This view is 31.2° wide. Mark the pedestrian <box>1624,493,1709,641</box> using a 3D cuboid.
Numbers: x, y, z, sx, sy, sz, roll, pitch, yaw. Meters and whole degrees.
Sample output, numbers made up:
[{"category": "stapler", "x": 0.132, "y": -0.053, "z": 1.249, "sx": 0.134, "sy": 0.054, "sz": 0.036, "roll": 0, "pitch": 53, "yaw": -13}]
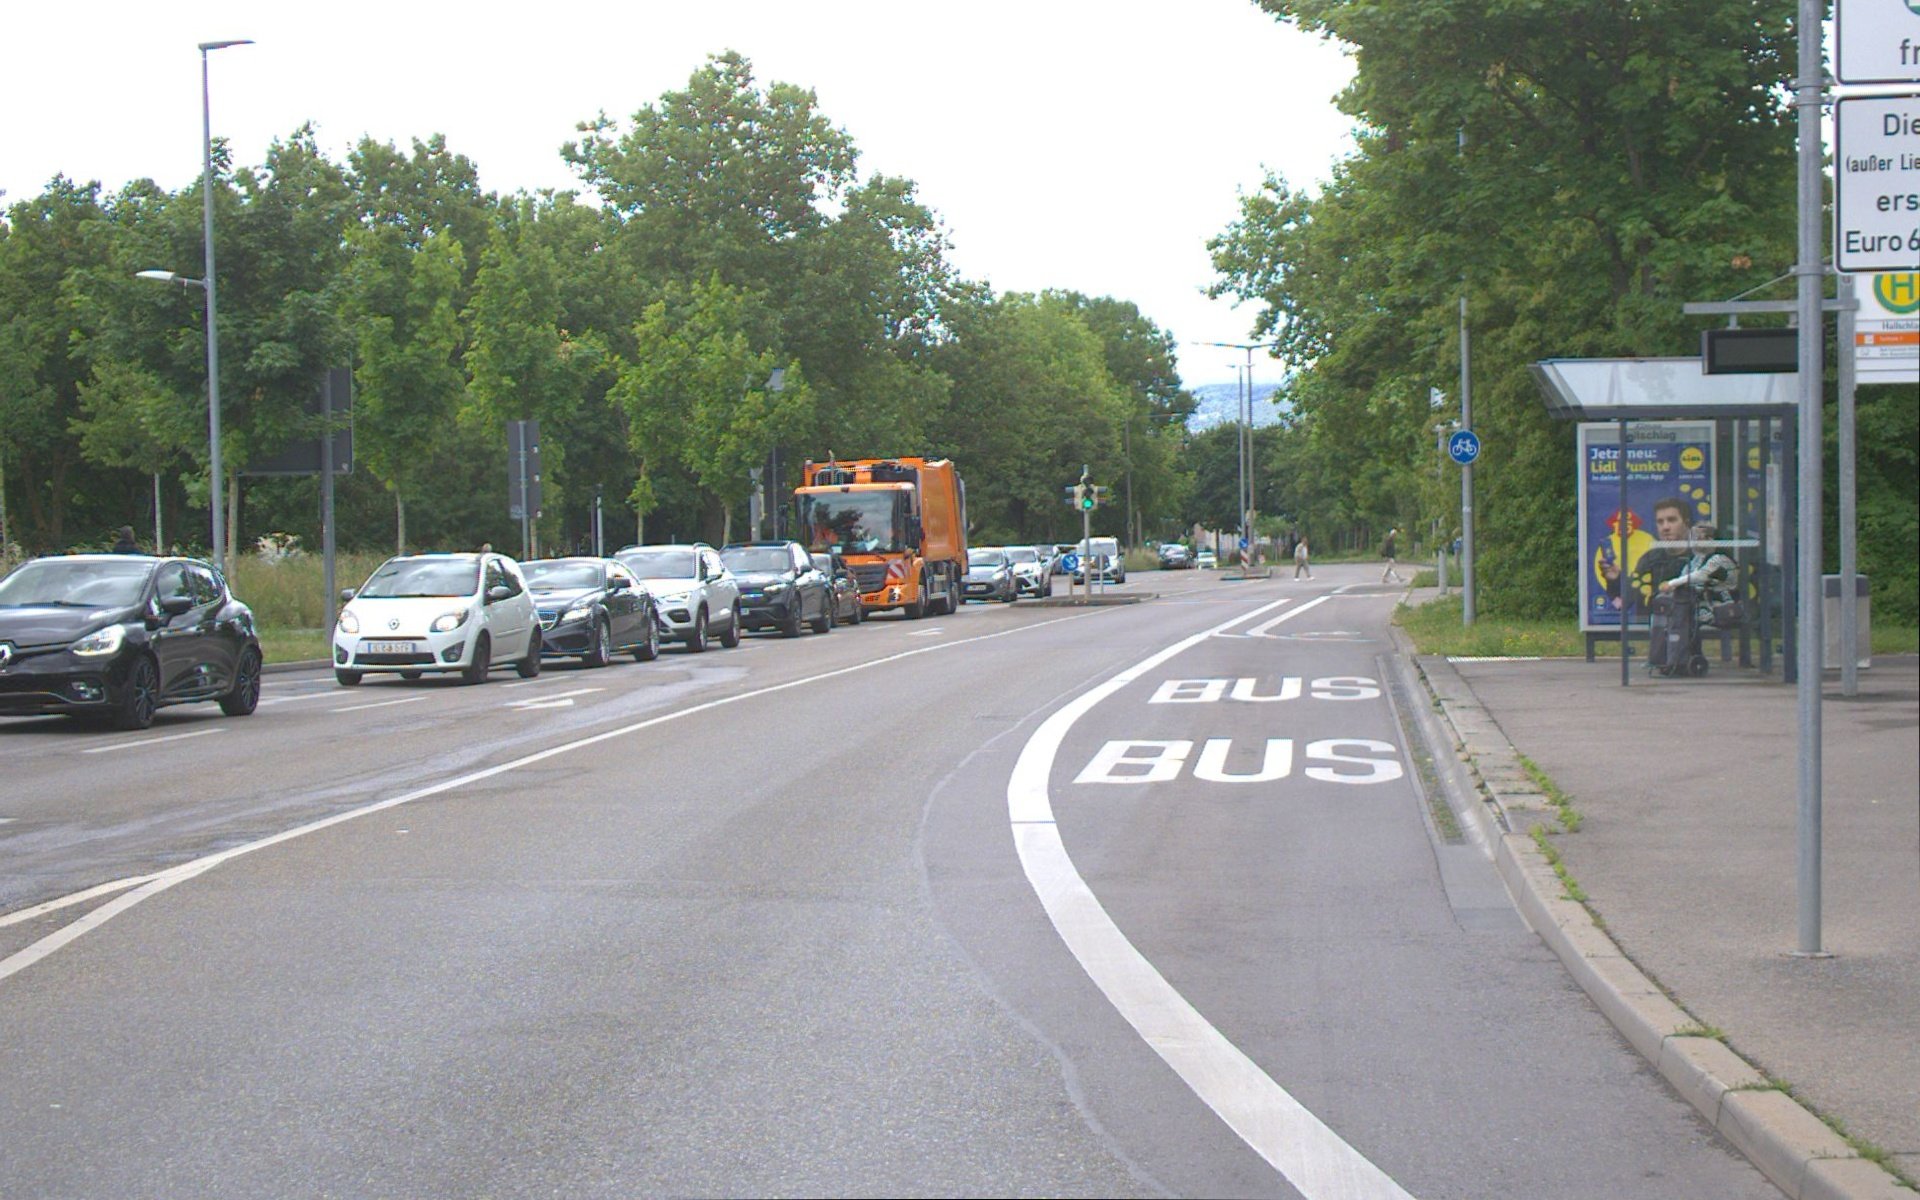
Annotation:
[{"category": "pedestrian", "x": 6.392, "y": -0.304, "z": 31.123, "sx": 0.728, "sy": 1.311, "sz": 0.589, "roll": 0, "pitch": 2, "yaw": 9}]

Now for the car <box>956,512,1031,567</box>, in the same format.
[{"category": "car", "x": 0.901, "y": -1.625, "z": 91.782, "sx": 1.547, "sy": 1.326, "sz": 3.653, "roll": -3, "pitch": 2, "yaw": 7}]

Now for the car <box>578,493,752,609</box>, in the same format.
[{"category": "car", "x": -4.360, "y": -0.767, "z": 51.463, "sx": 1.731, "sy": 1.580, "sz": 4.223, "roll": -1, "pitch": 2, "yaw": 7}]

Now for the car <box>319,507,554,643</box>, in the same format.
[{"category": "car", "x": -5.849, "y": -0.318, "z": 38.822, "sx": 1.640, "sy": 1.386, "sz": 3.762, "roll": -1, "pitch": 2, "yaw": 7}]

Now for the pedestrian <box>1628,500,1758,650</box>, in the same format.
[{"category": "pedestrian", "x": 6.313, "y": -0.225, "z": 29.623, "sx": 0.773, "sy": 1.248, "sz": 0.772, "roll": -2, "pitch": 3, "yaw": -34}]

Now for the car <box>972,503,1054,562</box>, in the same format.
[{"category": "car", "x": 1.568, "y": -1.974, "z": 99.613, "sx": 1.846, "sy": 1.515, "sz": 4.815, "roll": -3, "pitch": 2, "yaw": 6}]

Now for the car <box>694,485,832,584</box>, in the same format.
[{"category": "car", "x": -3.349, "y": -1.161, "z": 59.104, "sx": 1.640, "sy": 1.580, "sz": 4.060, "roll": -1, "pitch": 2, "yaw": 7}]

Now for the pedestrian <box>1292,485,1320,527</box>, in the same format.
[{"category": "pedestrian", "x": 12.436, "y": -3.379, "z": 123.513, "sx": 0.788, "sy": 1.458, "sz": 0.749, "roll": -2, "pitch": 2, "yaw": -11}]

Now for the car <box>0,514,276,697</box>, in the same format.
[{"category": "car", "x": -7.127, "y": 0.002, "z": 28.492, "sx": 1.640, "sy": 1.327, "sz": 4.060, "roll": -1, "pitch": 2, "yaw": 7}]

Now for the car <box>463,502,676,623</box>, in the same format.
[{"category": "car", "x": -4.991, "y": -0.528, "z": 44.589, "sx": 1.640, "sy": 1.386, "sz": 4.884, "roll": -1, "pitch": 2, "yaw": 7}]

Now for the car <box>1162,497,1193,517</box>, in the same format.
[{"category": "car", "x": 14.216, "y": -6.088, "z": 225.011, "sx": 1.772, "sy": 1.300, "sz": 3.999, "roll": -1, "pitch": 2, "yaw": 7}]

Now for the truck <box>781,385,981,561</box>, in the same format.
[{"category": "truck", "x": -1.553, "y": -2.753, "z": 73.978, "sx": 2.706, "sy": 3.475, "sz": 9.993, "roll": -1, "pitch": 2, "yaw": 8}]

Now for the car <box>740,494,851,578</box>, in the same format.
[{"category": "car", "x": -3.057, "y": -1.222, "z": 64.500, "sx": 1.434, "sy": 1.452, "sz": 3.894, "roll": -1, "pitch": 2, "yaw": 7}]

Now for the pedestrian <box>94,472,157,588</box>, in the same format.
[{"category": "pedestrian", "x": -13.293, "y": -1.121, "z": 54.794, "sx": 0.721, "sy": 1.829, "sz": 0.677, "roll": -1, "pitch": 2, "yaw": 8}]
